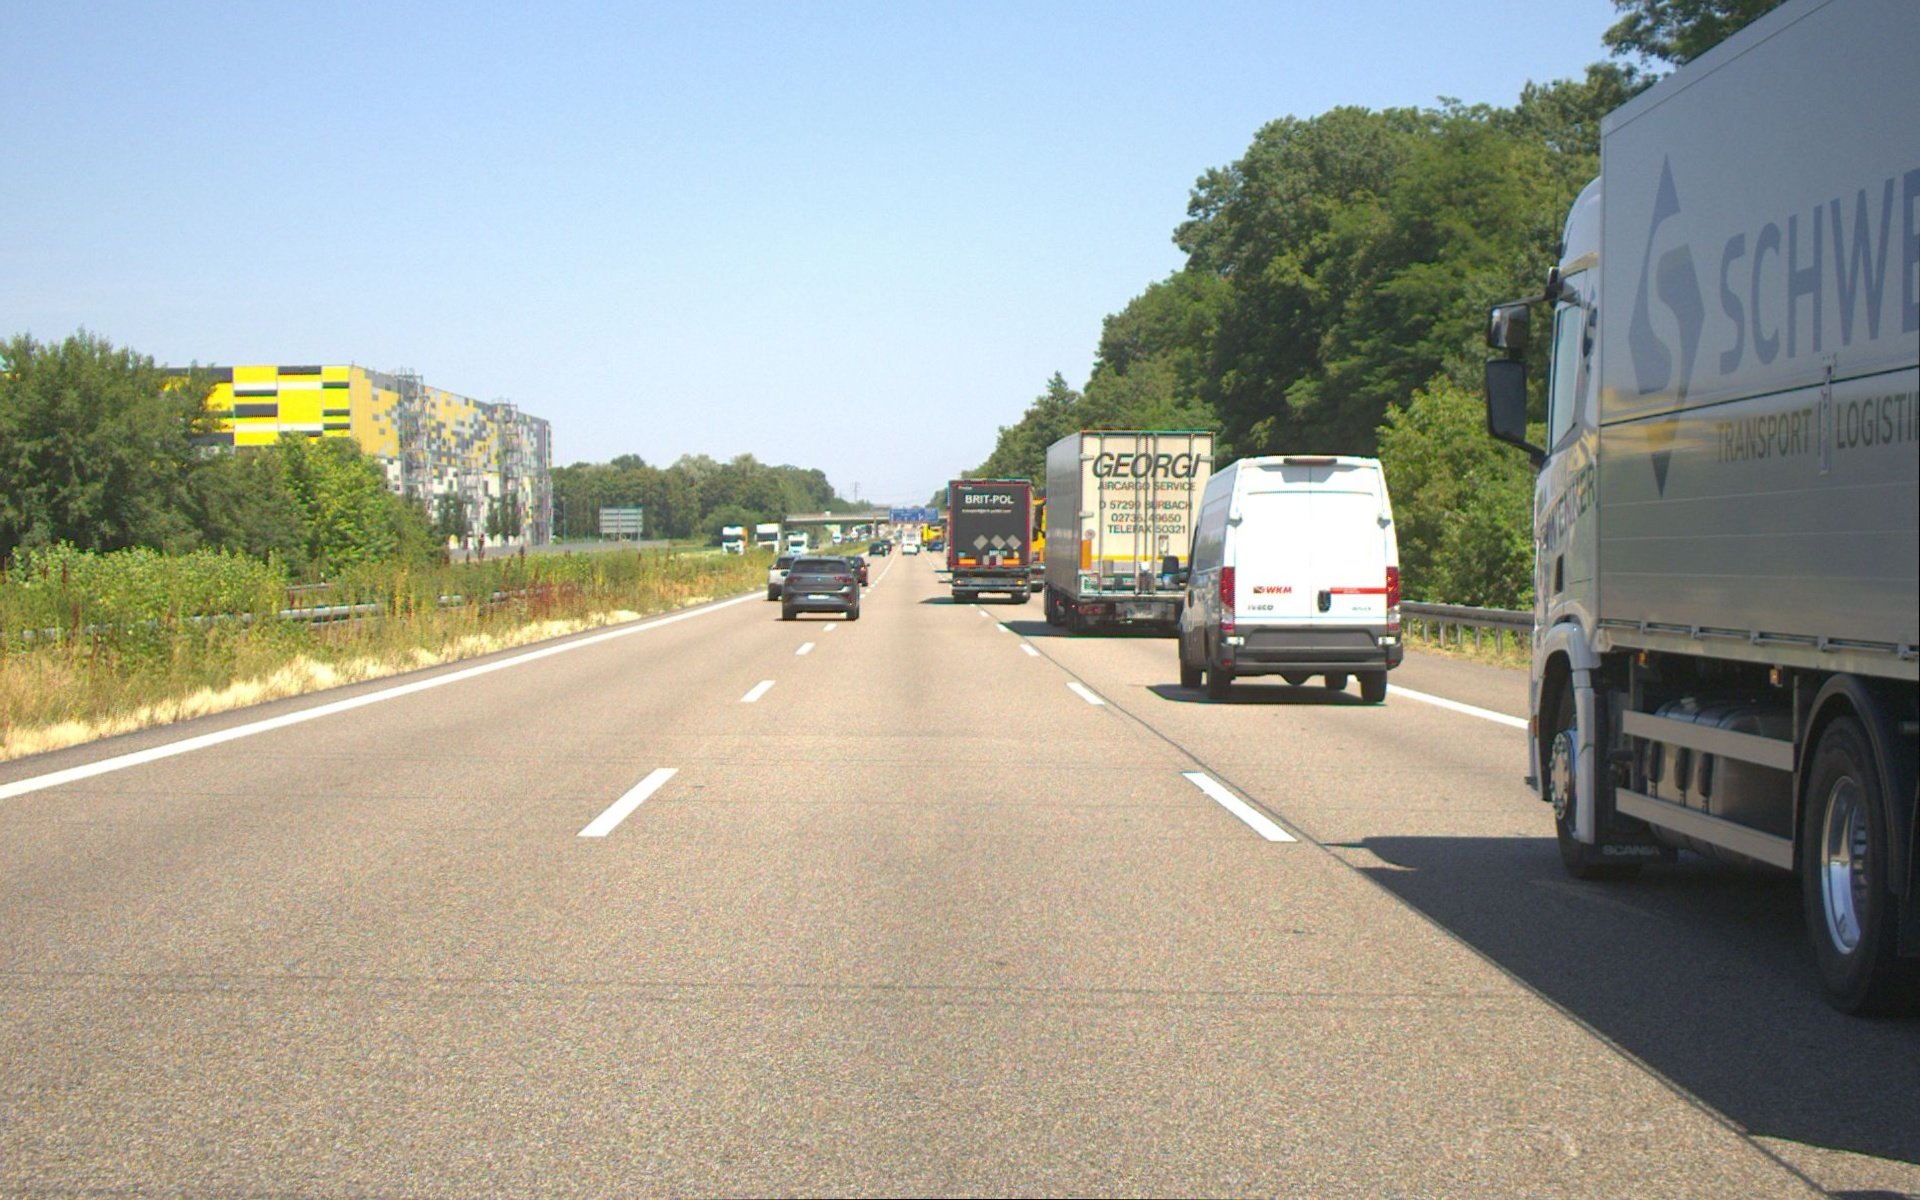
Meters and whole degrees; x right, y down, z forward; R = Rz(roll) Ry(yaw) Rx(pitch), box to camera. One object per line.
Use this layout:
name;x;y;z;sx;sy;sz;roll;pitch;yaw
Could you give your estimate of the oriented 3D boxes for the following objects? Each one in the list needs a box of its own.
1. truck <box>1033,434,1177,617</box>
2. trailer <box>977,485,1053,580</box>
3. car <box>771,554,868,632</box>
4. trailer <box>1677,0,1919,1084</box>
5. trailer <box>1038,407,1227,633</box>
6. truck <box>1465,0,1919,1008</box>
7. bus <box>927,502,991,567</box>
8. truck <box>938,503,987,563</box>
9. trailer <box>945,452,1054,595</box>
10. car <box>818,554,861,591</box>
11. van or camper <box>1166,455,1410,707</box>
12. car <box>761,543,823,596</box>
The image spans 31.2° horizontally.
truck;3.314;-1.704;79.958;3.002;4.110;5.253;0;1;-1
trailer;2.309;-2.914;148.303;2.834;3.940;11.685;0;1;-1
car;-3.371;-0.197;83.556;2.216;1.784;5.394;-1;1;-1
trailer;4.255;-0.594;9.280;2.920;4.027;7.317;1;1;-1
trailer;3.441;-1.634;72.201;2.993;4.274;13.419;1;1;-1
truck;4.241;-0.639;15.180;2.889;4.016;6.870;1;1;-1
bus;-0.102;-3.504;183.806;3.062;3.315;8.275;-1;1;-2
truck;0.186;-4.817;247.391;3.422;4.112;9.565;-1;1;0
trailer;1.213;-2.543;116.912;3.106;4.491;14.897;1;1;-1
car;-5.640;-1.311;161.478;1.941;1.700;4.000;0;1;-1
van or camper;3.651;-0.255;39.454;2.022;2.628;6.488;1;1;-1
car;-5.592;-1.044;114.812;1.993;1.722;4.131;0;1;-2
